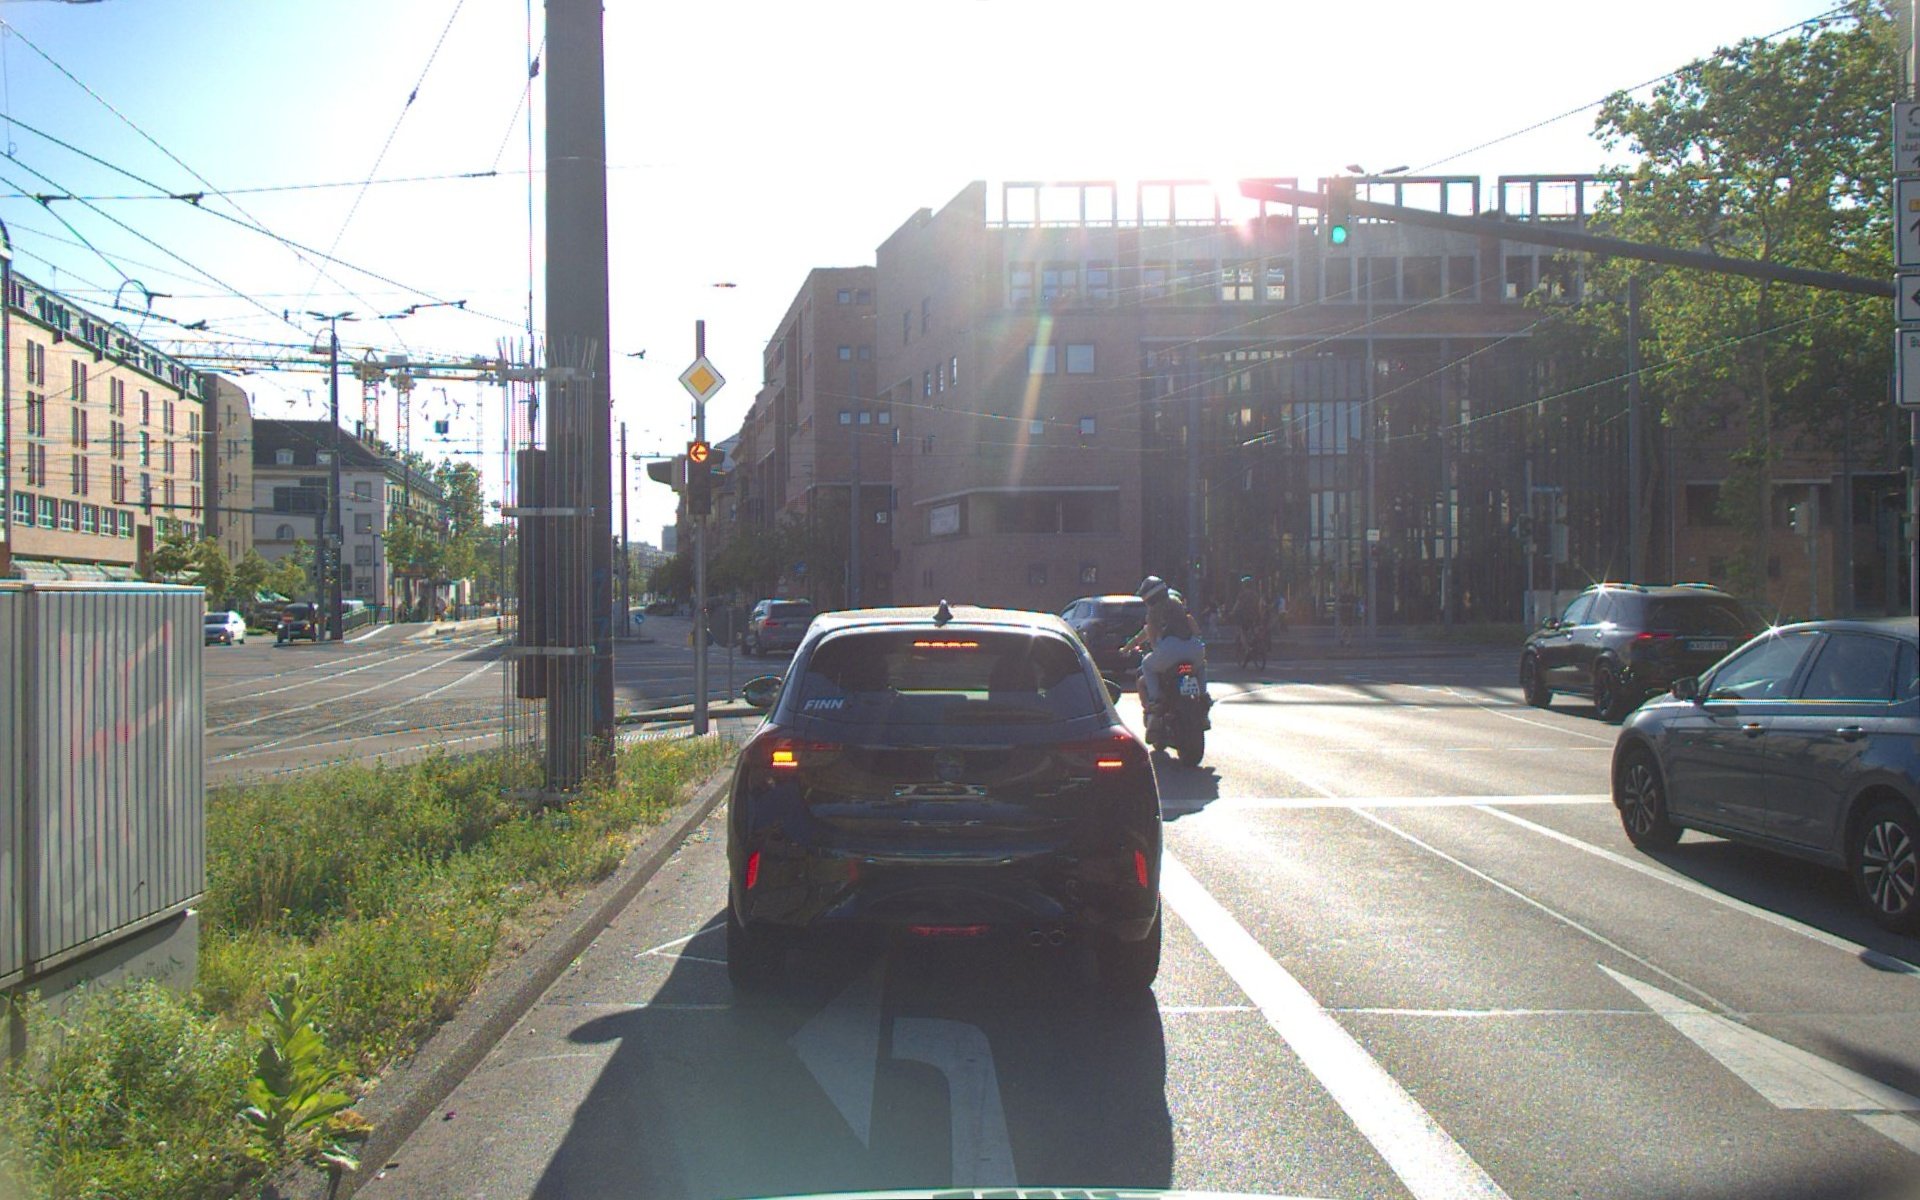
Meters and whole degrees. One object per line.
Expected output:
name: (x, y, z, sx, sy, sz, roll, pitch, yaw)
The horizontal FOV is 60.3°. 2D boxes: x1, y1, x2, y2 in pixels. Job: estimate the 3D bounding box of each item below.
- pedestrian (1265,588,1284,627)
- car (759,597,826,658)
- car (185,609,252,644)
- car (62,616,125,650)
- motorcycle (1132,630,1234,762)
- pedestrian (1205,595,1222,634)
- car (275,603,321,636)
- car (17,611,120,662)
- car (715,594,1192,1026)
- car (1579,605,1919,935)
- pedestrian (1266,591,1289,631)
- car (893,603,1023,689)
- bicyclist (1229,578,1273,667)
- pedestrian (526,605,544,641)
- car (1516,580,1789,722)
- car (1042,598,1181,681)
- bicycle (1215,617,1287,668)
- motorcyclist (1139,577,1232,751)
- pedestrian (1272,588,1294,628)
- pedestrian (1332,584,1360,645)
pedestrian: (13.372, 0.311, 70.279, 0.722, 1.645, 0.561, -1, 0, 8)
car: (-4.923, 0.777, 48.199, 1.705, 1.680, 3.991, 0, 0, -9)
car: (-33.528, 1.172, 74.849, 1.542, 1.474, 3.995, -1, 0, -5)
car: (-42.655, 1.611, 81.488, 1.853, 1.536, 3.985, -1, 0, -14)
motorcycle: (2.093, 0.875, 15.755, 0.759, 1.135, 1.970, -1, 0, 2)
pedestrian: (9.556, 0.557, 62.383, 0.519, 1.455, 0.598, -1, 0, -1)
car: (-31.397, 0.908, 78.524, 1.718, 1.531, 3.861, -1, 0, -18)
car: (-30.691, 1.229, 57.090, 1.960, 1.624, 4.721, -1, 0, -14)
car: (-0.012, 0.714, 7.638, 1.615, 1.458, 4.000, 0, 0, 0)
car: (5.155, 0.790, 9.077, 1.772, 1.483, 3.996, 1, 0, -5)
pedestrian: (13.151, 0.437, 68.427, 0.881, 1.645, 0.561, -1, 0, 8)
car: (-0.113, 0.754, 29.147, 1.705, 1.373, 3.992, 0, 0, -9)
bicyclist: (6.104, 0.466, 34.684, 0.568, 1.822, 0.860, -1, 0, -16)
pedestrian: (-19.849, 1.053, 77.277, 0.752, 1.669, 0.742, -1, 0, -12)
car: (9.522, 0.636, 23.170, 1.953, 1.780, 4.328, -1, 0, -1)
car: (2.864, 0.712, 32.039, 1.774, 1.483, 3.992, 1, 0, -9)
bicycle: (6.084, 0.874, 34.694, 0.484, 1.015, 2.317, -1, 0, -17)
motorcyclist: (2.086, 0.574, 15.403, 0.729, 1.557, 1.021, -1, 0, 1)
pedestrian: (13.510, 0.328, 69.171, 0.881, 1.645, 0.561, -1, 0, 8)
pedestrian: (11.336, 0.424, 48.604, 0.692, 1.789, 0.560, -1, 0, 24)
